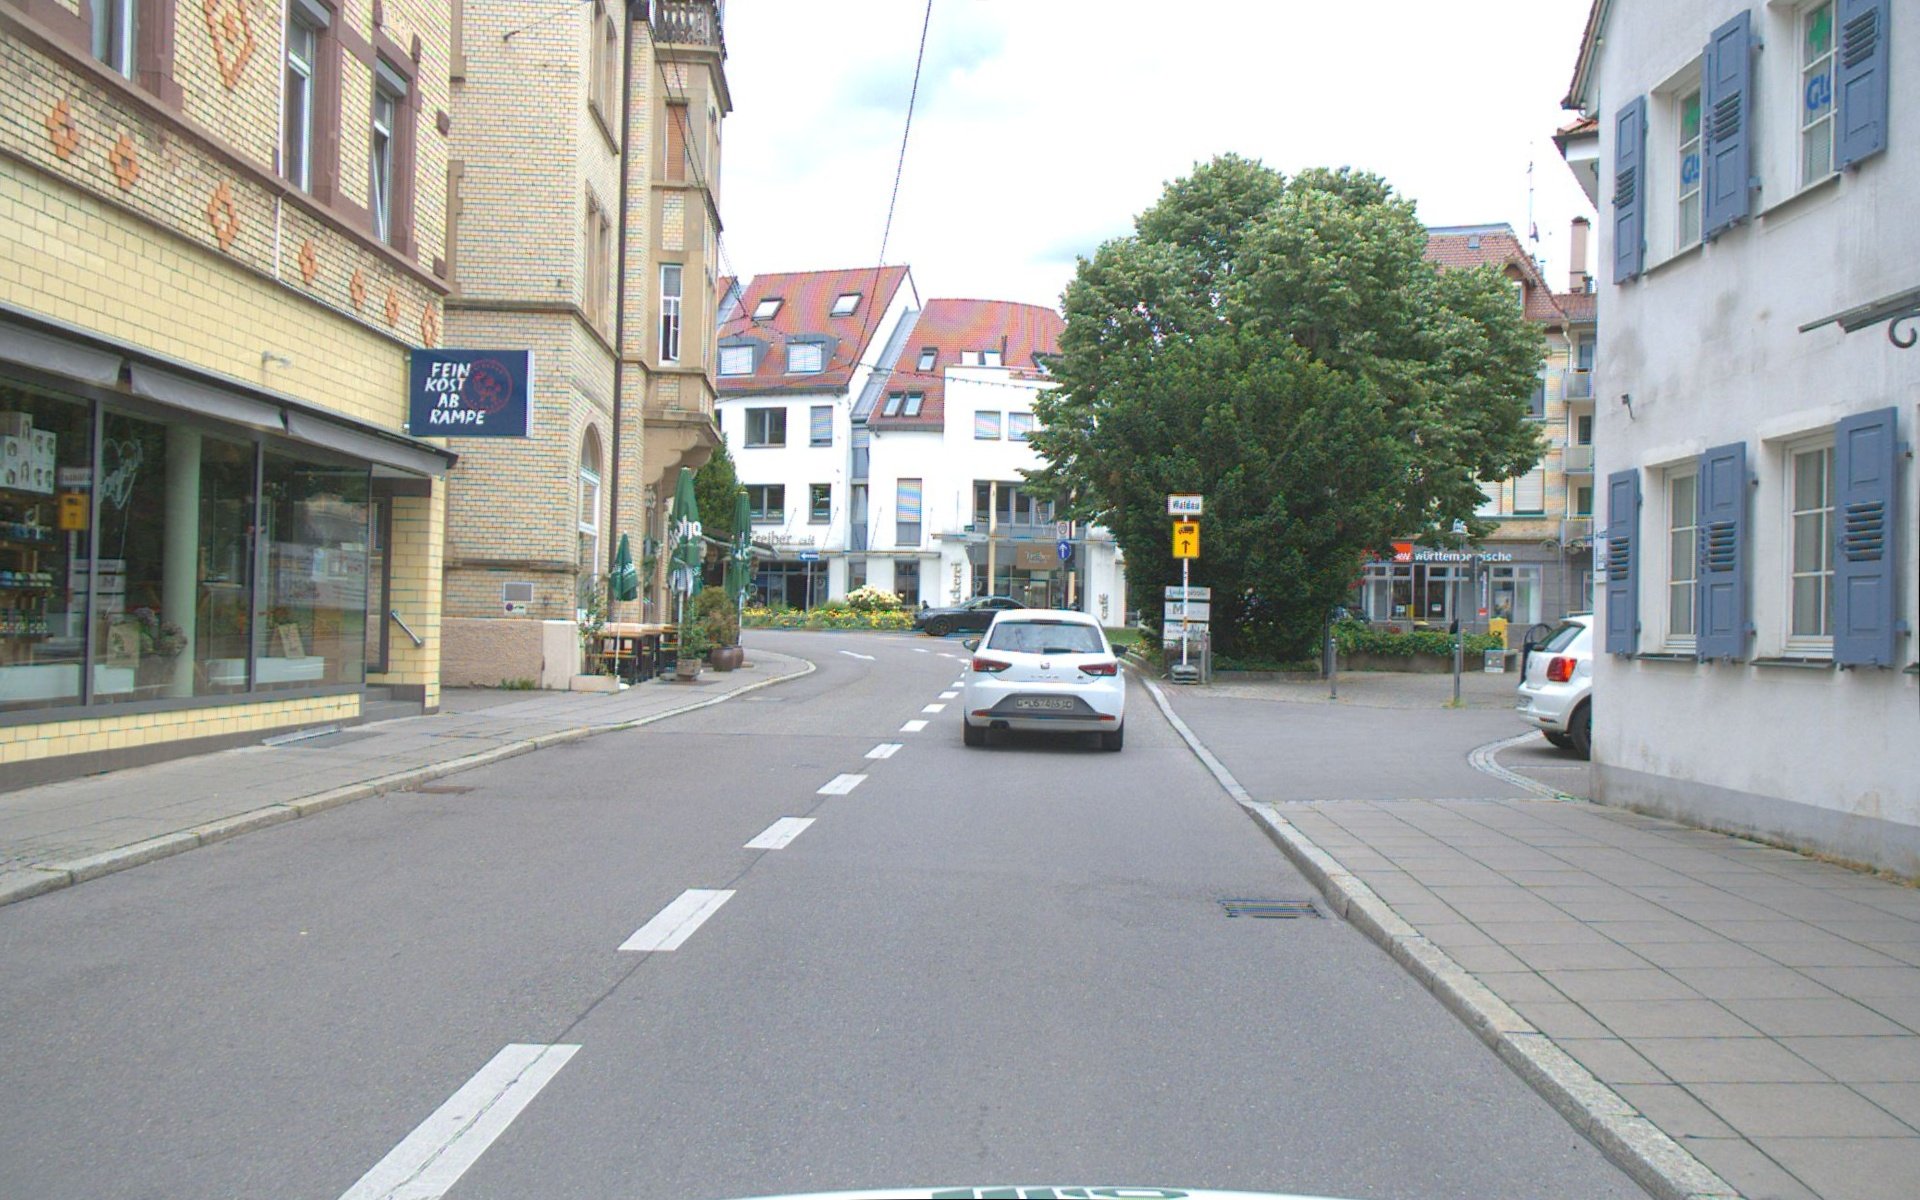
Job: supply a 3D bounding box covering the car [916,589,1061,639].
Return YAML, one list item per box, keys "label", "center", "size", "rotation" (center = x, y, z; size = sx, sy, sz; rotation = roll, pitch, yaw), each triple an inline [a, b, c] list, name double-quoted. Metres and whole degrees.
- label: "car"
  center: [0.944, 0.458, 56.007]
  size: [4.802, 1.584, 2.249]
  rotation: [1, 0, 0]

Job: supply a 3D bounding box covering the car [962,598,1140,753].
- label: "car"
  center: [1.023, 0.761, 18.666]
  size: [1.773, 1.506, 3.872]
  rotation: [1, 1, 3]

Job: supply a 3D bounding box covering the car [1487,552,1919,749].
- label: "car"
  center: [7.794, 0.501, 17.277]
  size: [3.906, 1.870, 2.000]
  rotation: [1, 0, -1]

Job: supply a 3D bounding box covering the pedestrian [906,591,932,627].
- label: "pedestrian"
  center: [-1.548, 0.351, 62.279]
  size: [0.704, 1.335, 0.793]
  rotation: [1, 0, -28]

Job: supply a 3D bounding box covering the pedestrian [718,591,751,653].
- label: "pedestrian"
  center: [-5.840, 0.558, 42.868]
  size: [0.818, 1.579, 0.626]
  rotation: [1, -1, -6]
